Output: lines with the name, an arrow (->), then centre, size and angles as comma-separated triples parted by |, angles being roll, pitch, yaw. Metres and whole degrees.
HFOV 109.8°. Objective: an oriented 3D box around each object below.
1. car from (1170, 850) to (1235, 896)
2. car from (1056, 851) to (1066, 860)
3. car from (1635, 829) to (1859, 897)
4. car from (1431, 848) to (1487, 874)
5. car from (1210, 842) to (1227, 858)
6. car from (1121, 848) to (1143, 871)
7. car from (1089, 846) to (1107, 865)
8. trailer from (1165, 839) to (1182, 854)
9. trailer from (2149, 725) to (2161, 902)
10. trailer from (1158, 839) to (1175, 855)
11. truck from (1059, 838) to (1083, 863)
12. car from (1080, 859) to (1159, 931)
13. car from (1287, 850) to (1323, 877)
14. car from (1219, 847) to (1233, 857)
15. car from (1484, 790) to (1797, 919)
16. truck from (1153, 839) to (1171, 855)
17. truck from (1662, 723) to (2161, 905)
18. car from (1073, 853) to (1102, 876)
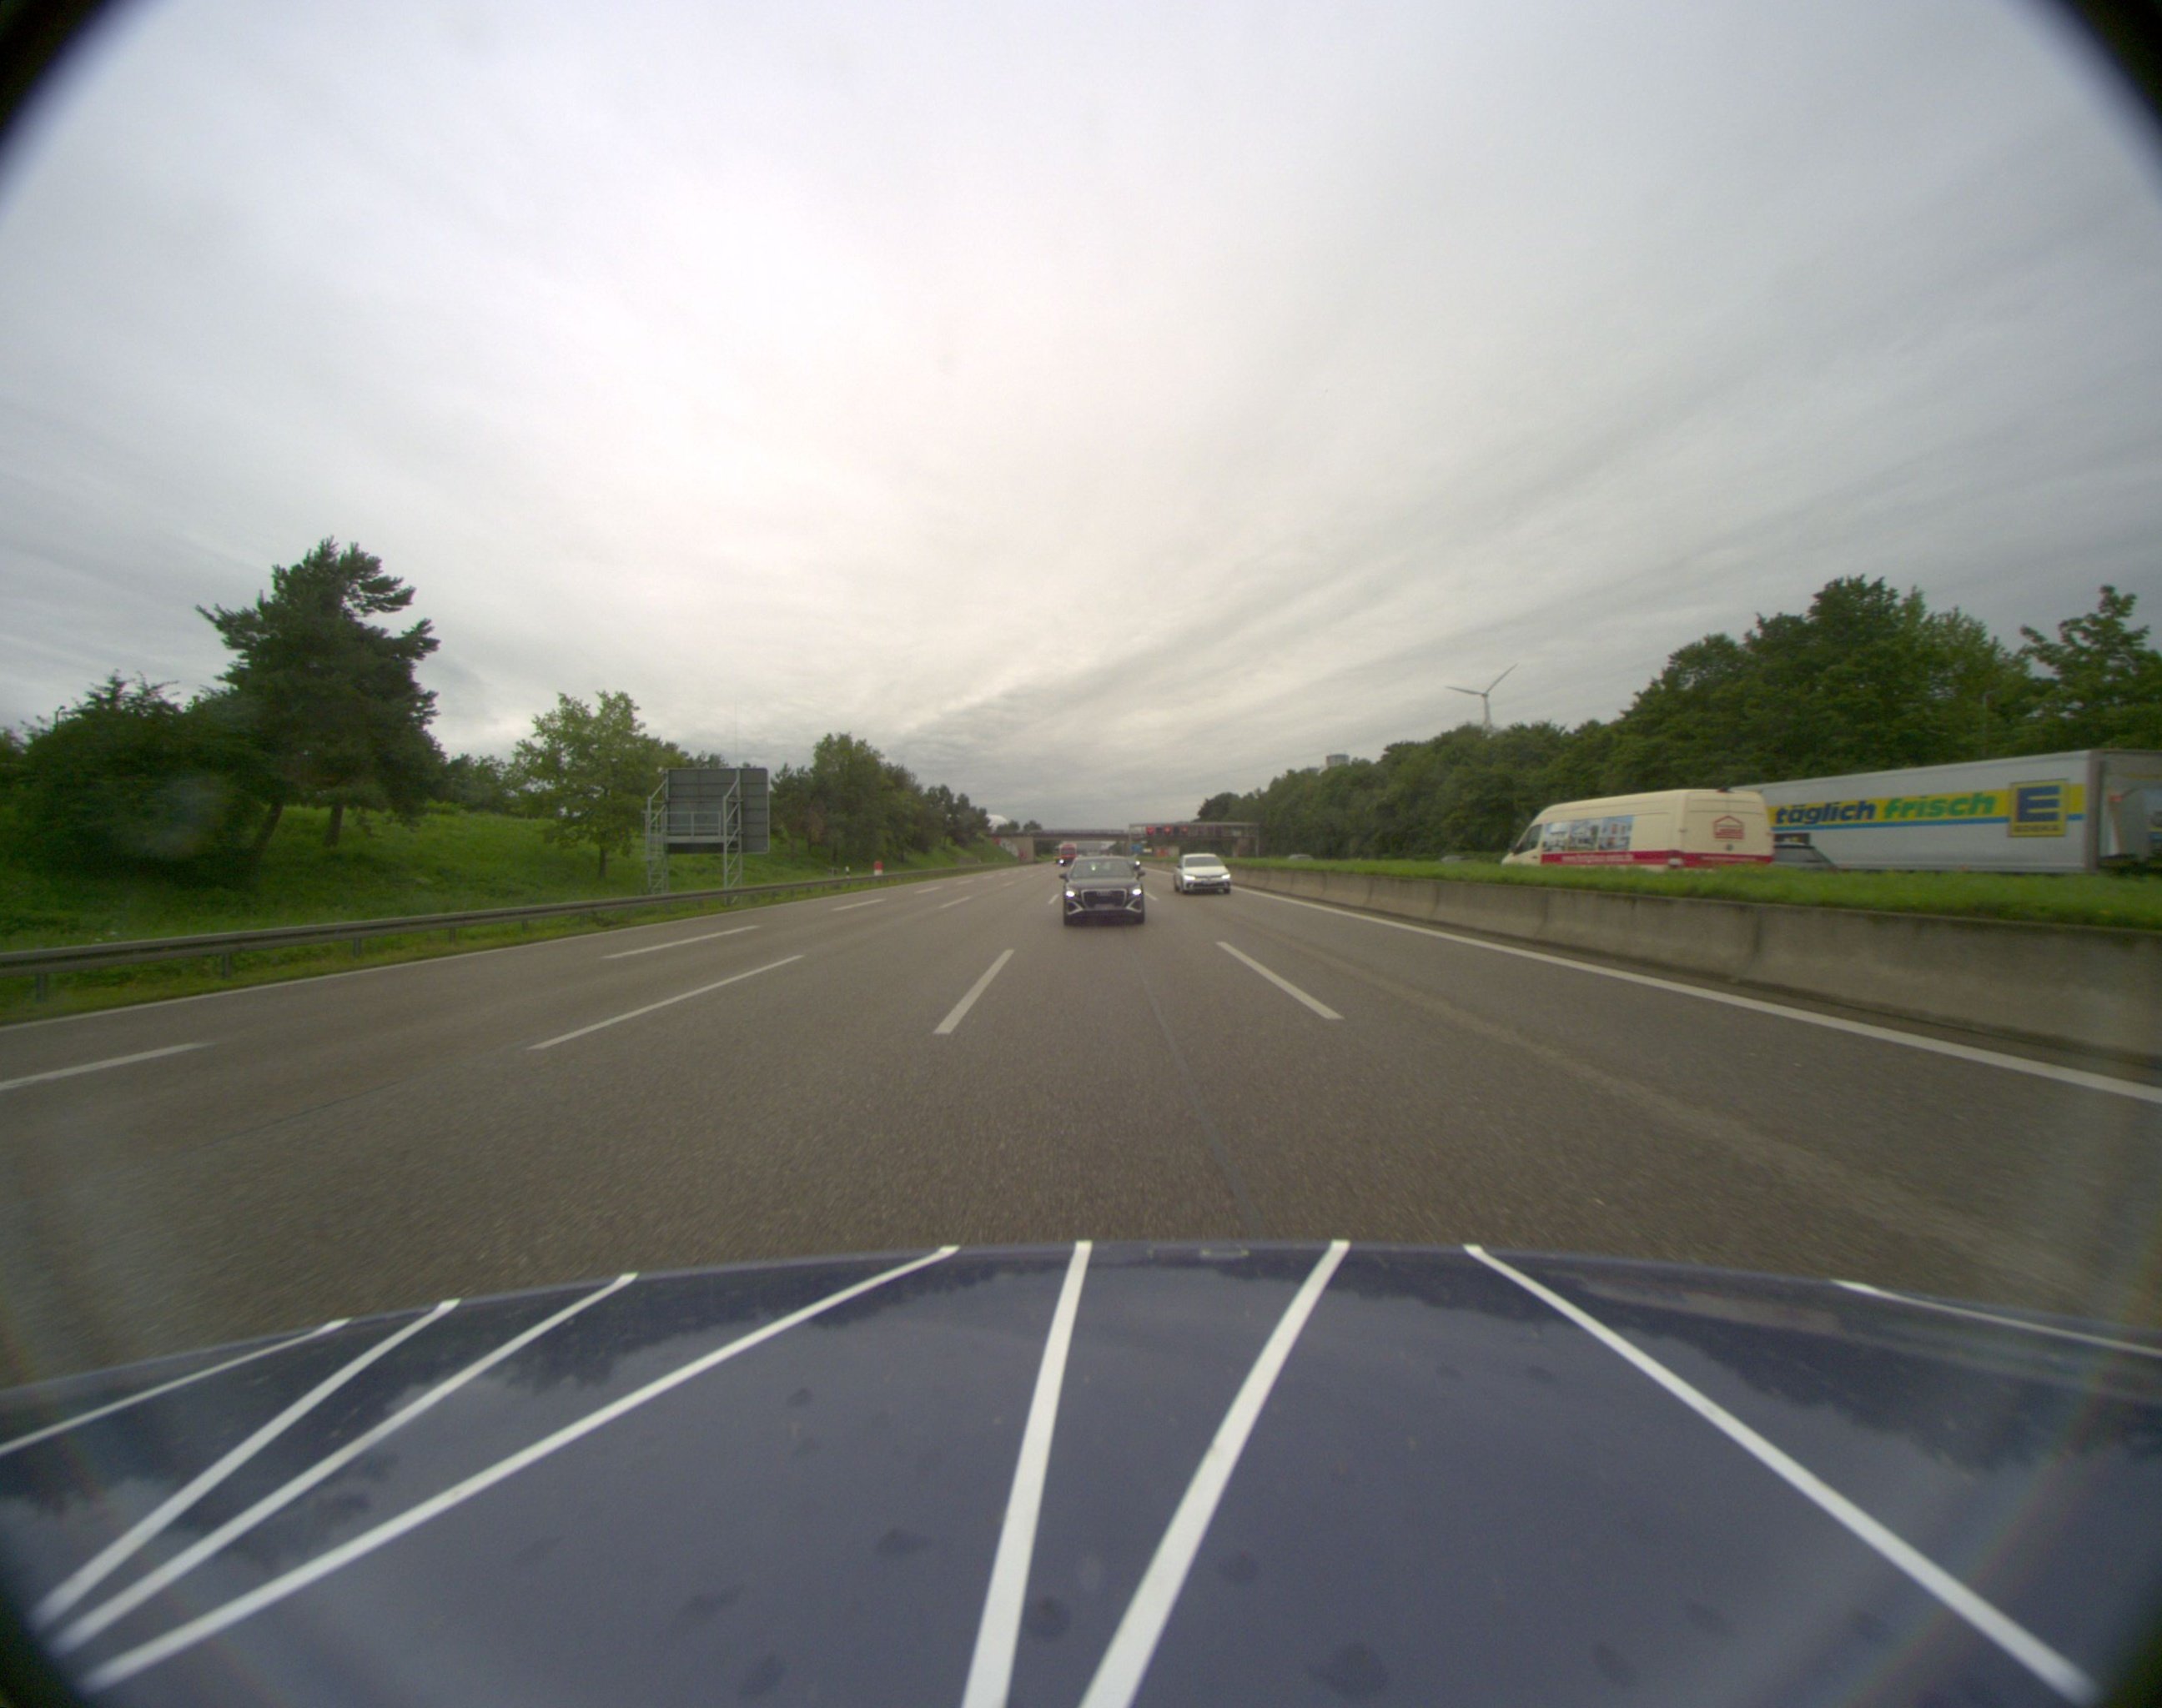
car -> 4.540, 0.664, 29.028 | 1.757, 1.608, 4.663 | -1, 0, 0
car -> -4.570, 0.303, 173.495 | 1.998, 2.002, 4.000 | -2, 1, 2
car -> 15.979, 0.183, 18.569 | 1.998, 1.405, 4.000 | -2, 1, 2
car -> 27.548, 0.460, 55.489 | 1.999, 1.783, 3.999 | -2, 1, 0
car -> 18.596, -0.572, 102.873 | 1.624, 2.002, 4.000 | -2, 1, 1
car -> 4.702, 0.471, 69.882 | 1.725, 2.002, 3.851 | -2, 1, 1
car -> 1.960, 0.158, 87.239 | 1.998, 2.002, 4.000 | -2, 1, 1
trailer -> 22.652, -1.873, 185.939 | 2.692, 3.519, 11.869 | -2, 1, 1
trailer -> 19.977, -0.704, 9.319 | 2.784, 3.059, 7.872 | -2, 1, 1
trailer -> 18.856, -1.546, 167.853 | 2.939, 3.439, 8.319 | -2, 1, 1
truck -> -1.469, -0.631, 121.357 | 2.835, 3.634, 10.673 | -2, 1, 4
car -> 0.812, 0.870, 17.653 | 1.616, 1.403, 3.326 | -2, 1, 0
car -> 17.667, 0.726, 60.045 | 1.706, 2.002, 3.953 | -2, 1, 1
car -> 29.538, -0.392, 155.035 | 1.998, 1.778, 4.304 | -2, 1, 2
car -> 12.595, -0.035, 18.112 | 2.064, 2.371, 7.322 | -2, 1, 0
truck -> 18.915, -1.599, 177.807 | 2.958, 3.446, 11.183 | -2, 1, 0
truck -> 20.254, -0.816, 19.044 | 2.891, 3.202, 11.358 | -2, 1, 2
car -> 0.480, 0.724, 54.966 | 1.998, 1.555, 4.910 | -2, 0, 1
